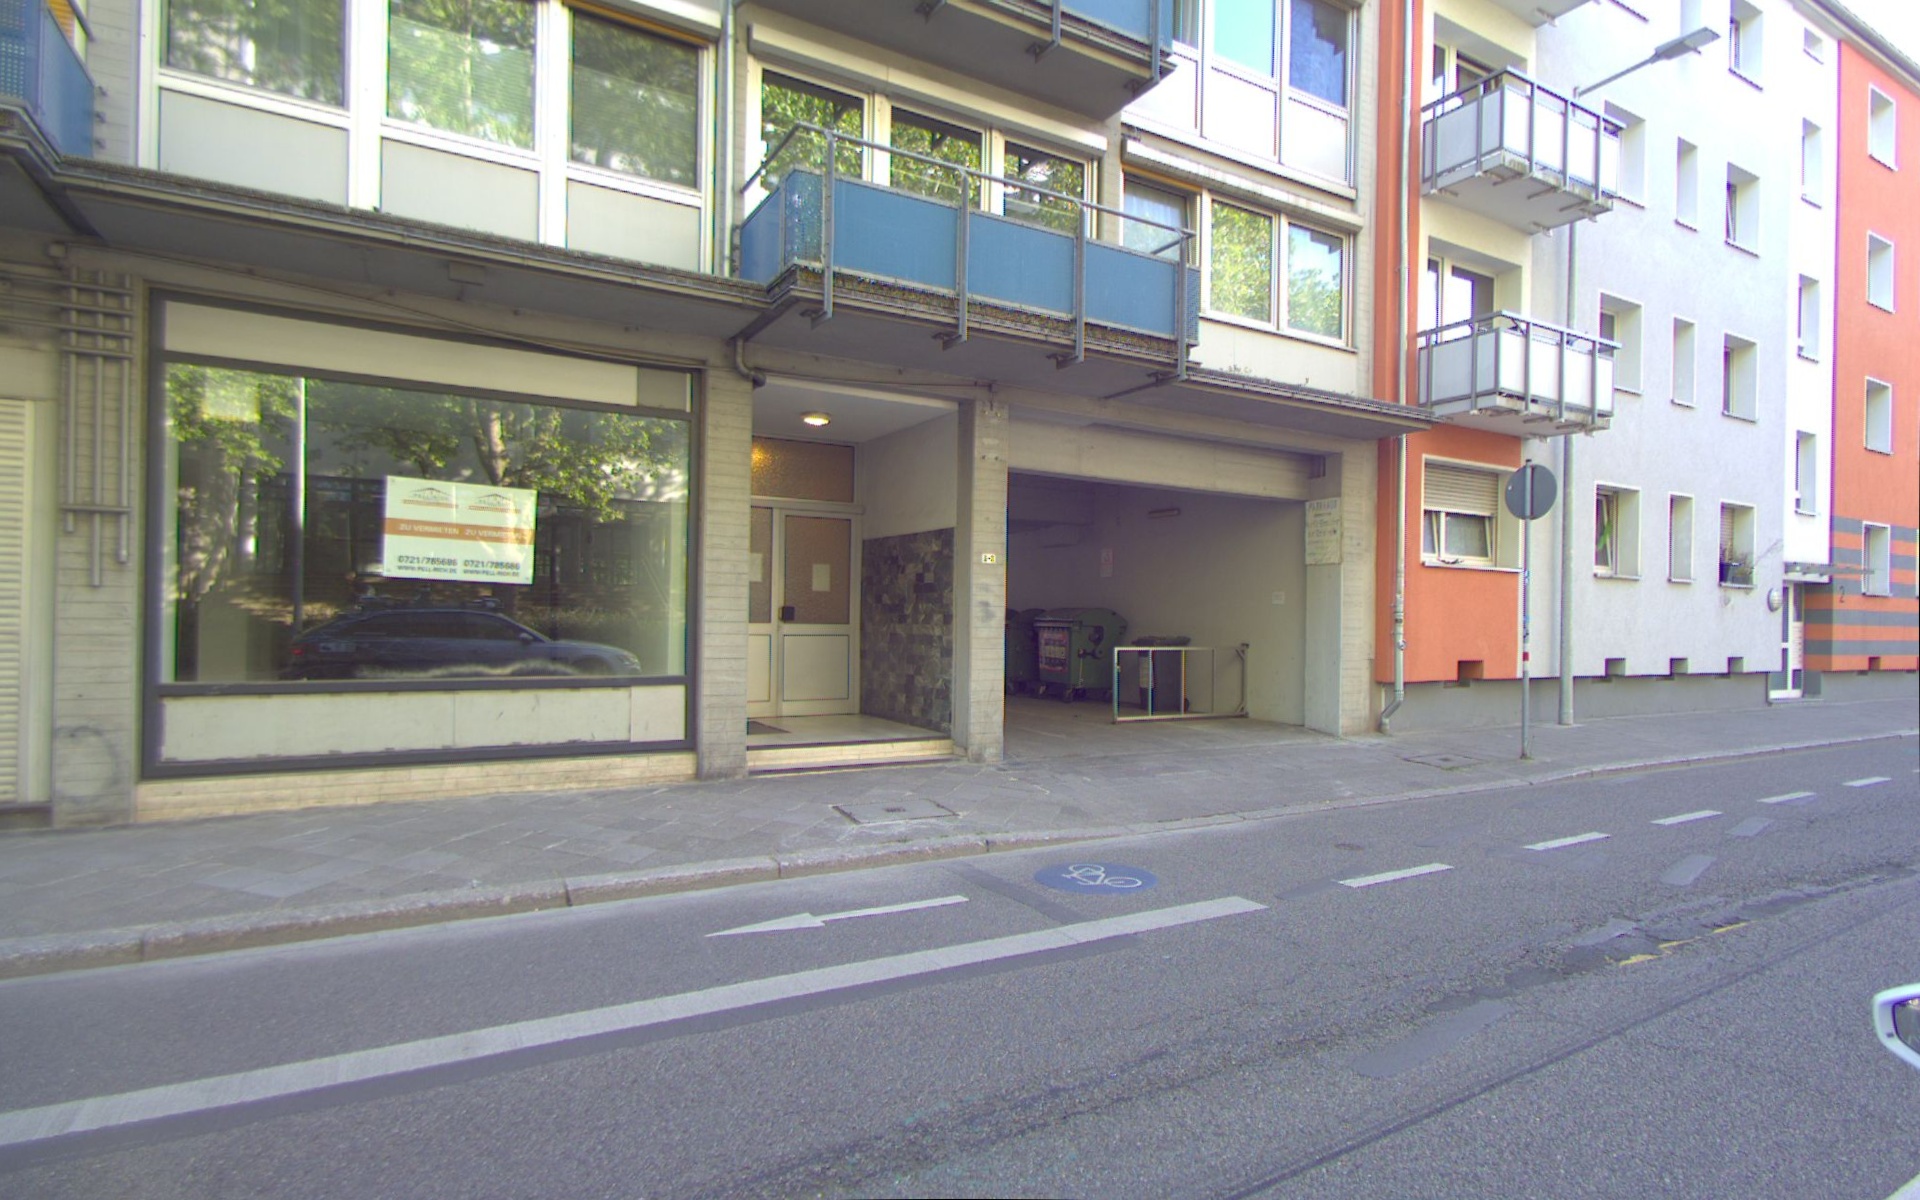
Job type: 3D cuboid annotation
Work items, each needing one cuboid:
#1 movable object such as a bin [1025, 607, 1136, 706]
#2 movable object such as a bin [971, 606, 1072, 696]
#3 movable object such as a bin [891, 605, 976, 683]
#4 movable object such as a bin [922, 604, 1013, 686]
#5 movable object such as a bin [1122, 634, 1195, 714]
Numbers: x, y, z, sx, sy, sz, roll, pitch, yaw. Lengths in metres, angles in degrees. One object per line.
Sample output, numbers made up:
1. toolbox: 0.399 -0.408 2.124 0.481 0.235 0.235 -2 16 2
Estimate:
1. movable object such as a bin: 1.884 0.865 15.812 1.182 1.452 1.300 2 0 -30
2. movable object such as a bin: 1.044 0.846 17.199 1.182 1.452 1.300 2 0 -30
3. movable object such as a bin: -0.537 0.856 19.938 1.182 1.452 1.300 2 0 -30
4. movable object such as a bin: 0.131 0.826 18.774 1.182 1.452 1.300 2 0 -30
5. movable object such as a bin: 2.861 1.059 14.530 0.707 1.089 0.735 2 0 -30
